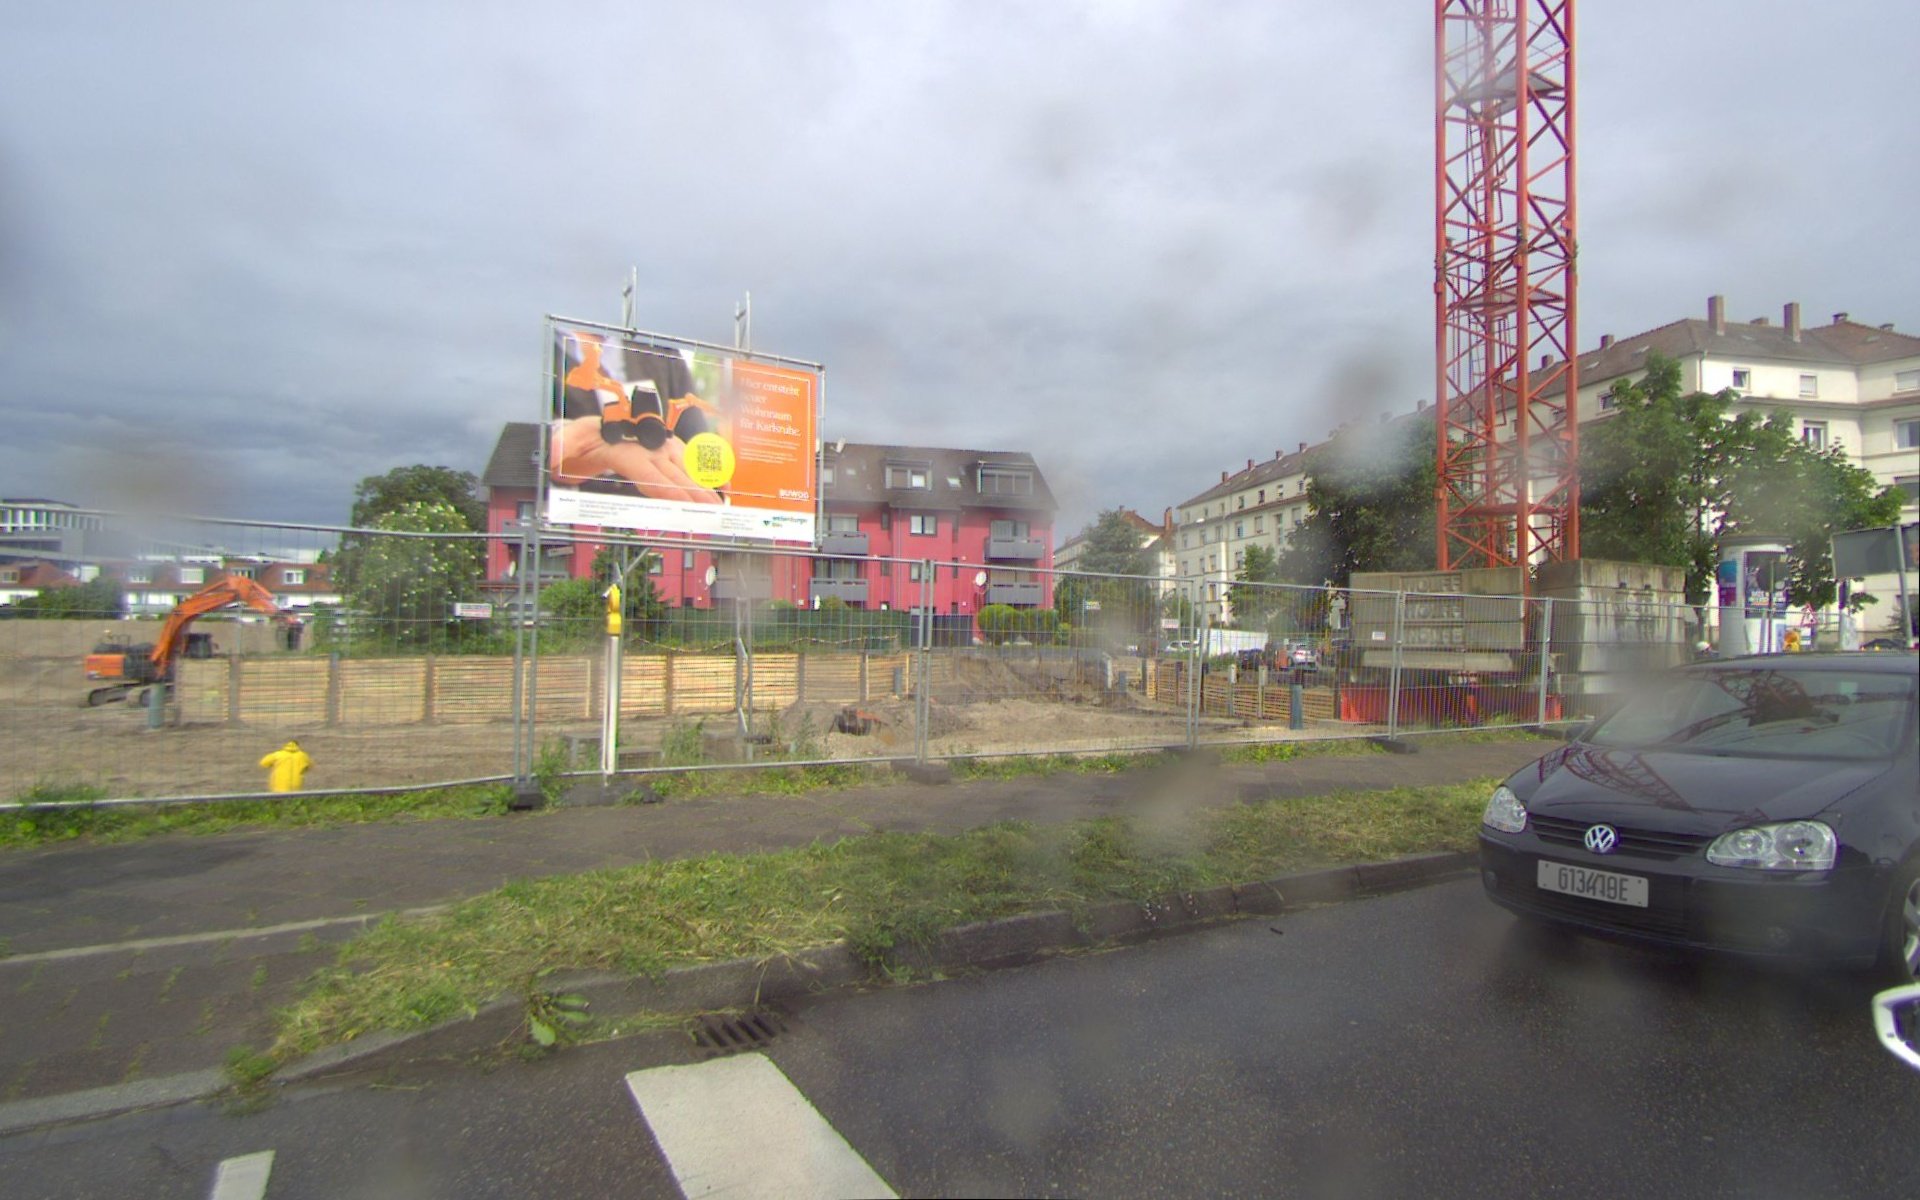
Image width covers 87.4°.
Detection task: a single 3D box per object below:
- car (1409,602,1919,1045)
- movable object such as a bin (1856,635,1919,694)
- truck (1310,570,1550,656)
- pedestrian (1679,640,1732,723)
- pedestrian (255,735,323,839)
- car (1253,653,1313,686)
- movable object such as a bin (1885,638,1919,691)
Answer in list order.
[{"bbox_3d":[4.567,0.927,5.516,3.952,1.628,1.833,2,-4,-29],"label":"car"},{"bbox_3d":[30.011,2.043,32.133,1.241,1.848,1.540,0,-2,-11],"label":"movable object such as a bin"},{"bbox_3d":[19.489,0.737,42.721,3.730,3.225,9.815,1,-3,-16],"label":"truck"},{"bbox_3d":[15.515,1.676,20.918,0.710,1.651,0.684,2,-1,23],"label":"pedestrian"},{"bbox_3d":[-11.712,3.243,17.557,0.837,1.706,0.585,2,-5,-25],"label":"pedestrian"},{"bbox_3d":[19.511,4.231,60.809,1.770,1.888,3.996,0,-5,-10],"label":"car"},{"bbox_3d":[31.493,2.076,32.601,1.500,1.678,1.540,0,-2,-11],"label":"movable object such as a bin"}]
